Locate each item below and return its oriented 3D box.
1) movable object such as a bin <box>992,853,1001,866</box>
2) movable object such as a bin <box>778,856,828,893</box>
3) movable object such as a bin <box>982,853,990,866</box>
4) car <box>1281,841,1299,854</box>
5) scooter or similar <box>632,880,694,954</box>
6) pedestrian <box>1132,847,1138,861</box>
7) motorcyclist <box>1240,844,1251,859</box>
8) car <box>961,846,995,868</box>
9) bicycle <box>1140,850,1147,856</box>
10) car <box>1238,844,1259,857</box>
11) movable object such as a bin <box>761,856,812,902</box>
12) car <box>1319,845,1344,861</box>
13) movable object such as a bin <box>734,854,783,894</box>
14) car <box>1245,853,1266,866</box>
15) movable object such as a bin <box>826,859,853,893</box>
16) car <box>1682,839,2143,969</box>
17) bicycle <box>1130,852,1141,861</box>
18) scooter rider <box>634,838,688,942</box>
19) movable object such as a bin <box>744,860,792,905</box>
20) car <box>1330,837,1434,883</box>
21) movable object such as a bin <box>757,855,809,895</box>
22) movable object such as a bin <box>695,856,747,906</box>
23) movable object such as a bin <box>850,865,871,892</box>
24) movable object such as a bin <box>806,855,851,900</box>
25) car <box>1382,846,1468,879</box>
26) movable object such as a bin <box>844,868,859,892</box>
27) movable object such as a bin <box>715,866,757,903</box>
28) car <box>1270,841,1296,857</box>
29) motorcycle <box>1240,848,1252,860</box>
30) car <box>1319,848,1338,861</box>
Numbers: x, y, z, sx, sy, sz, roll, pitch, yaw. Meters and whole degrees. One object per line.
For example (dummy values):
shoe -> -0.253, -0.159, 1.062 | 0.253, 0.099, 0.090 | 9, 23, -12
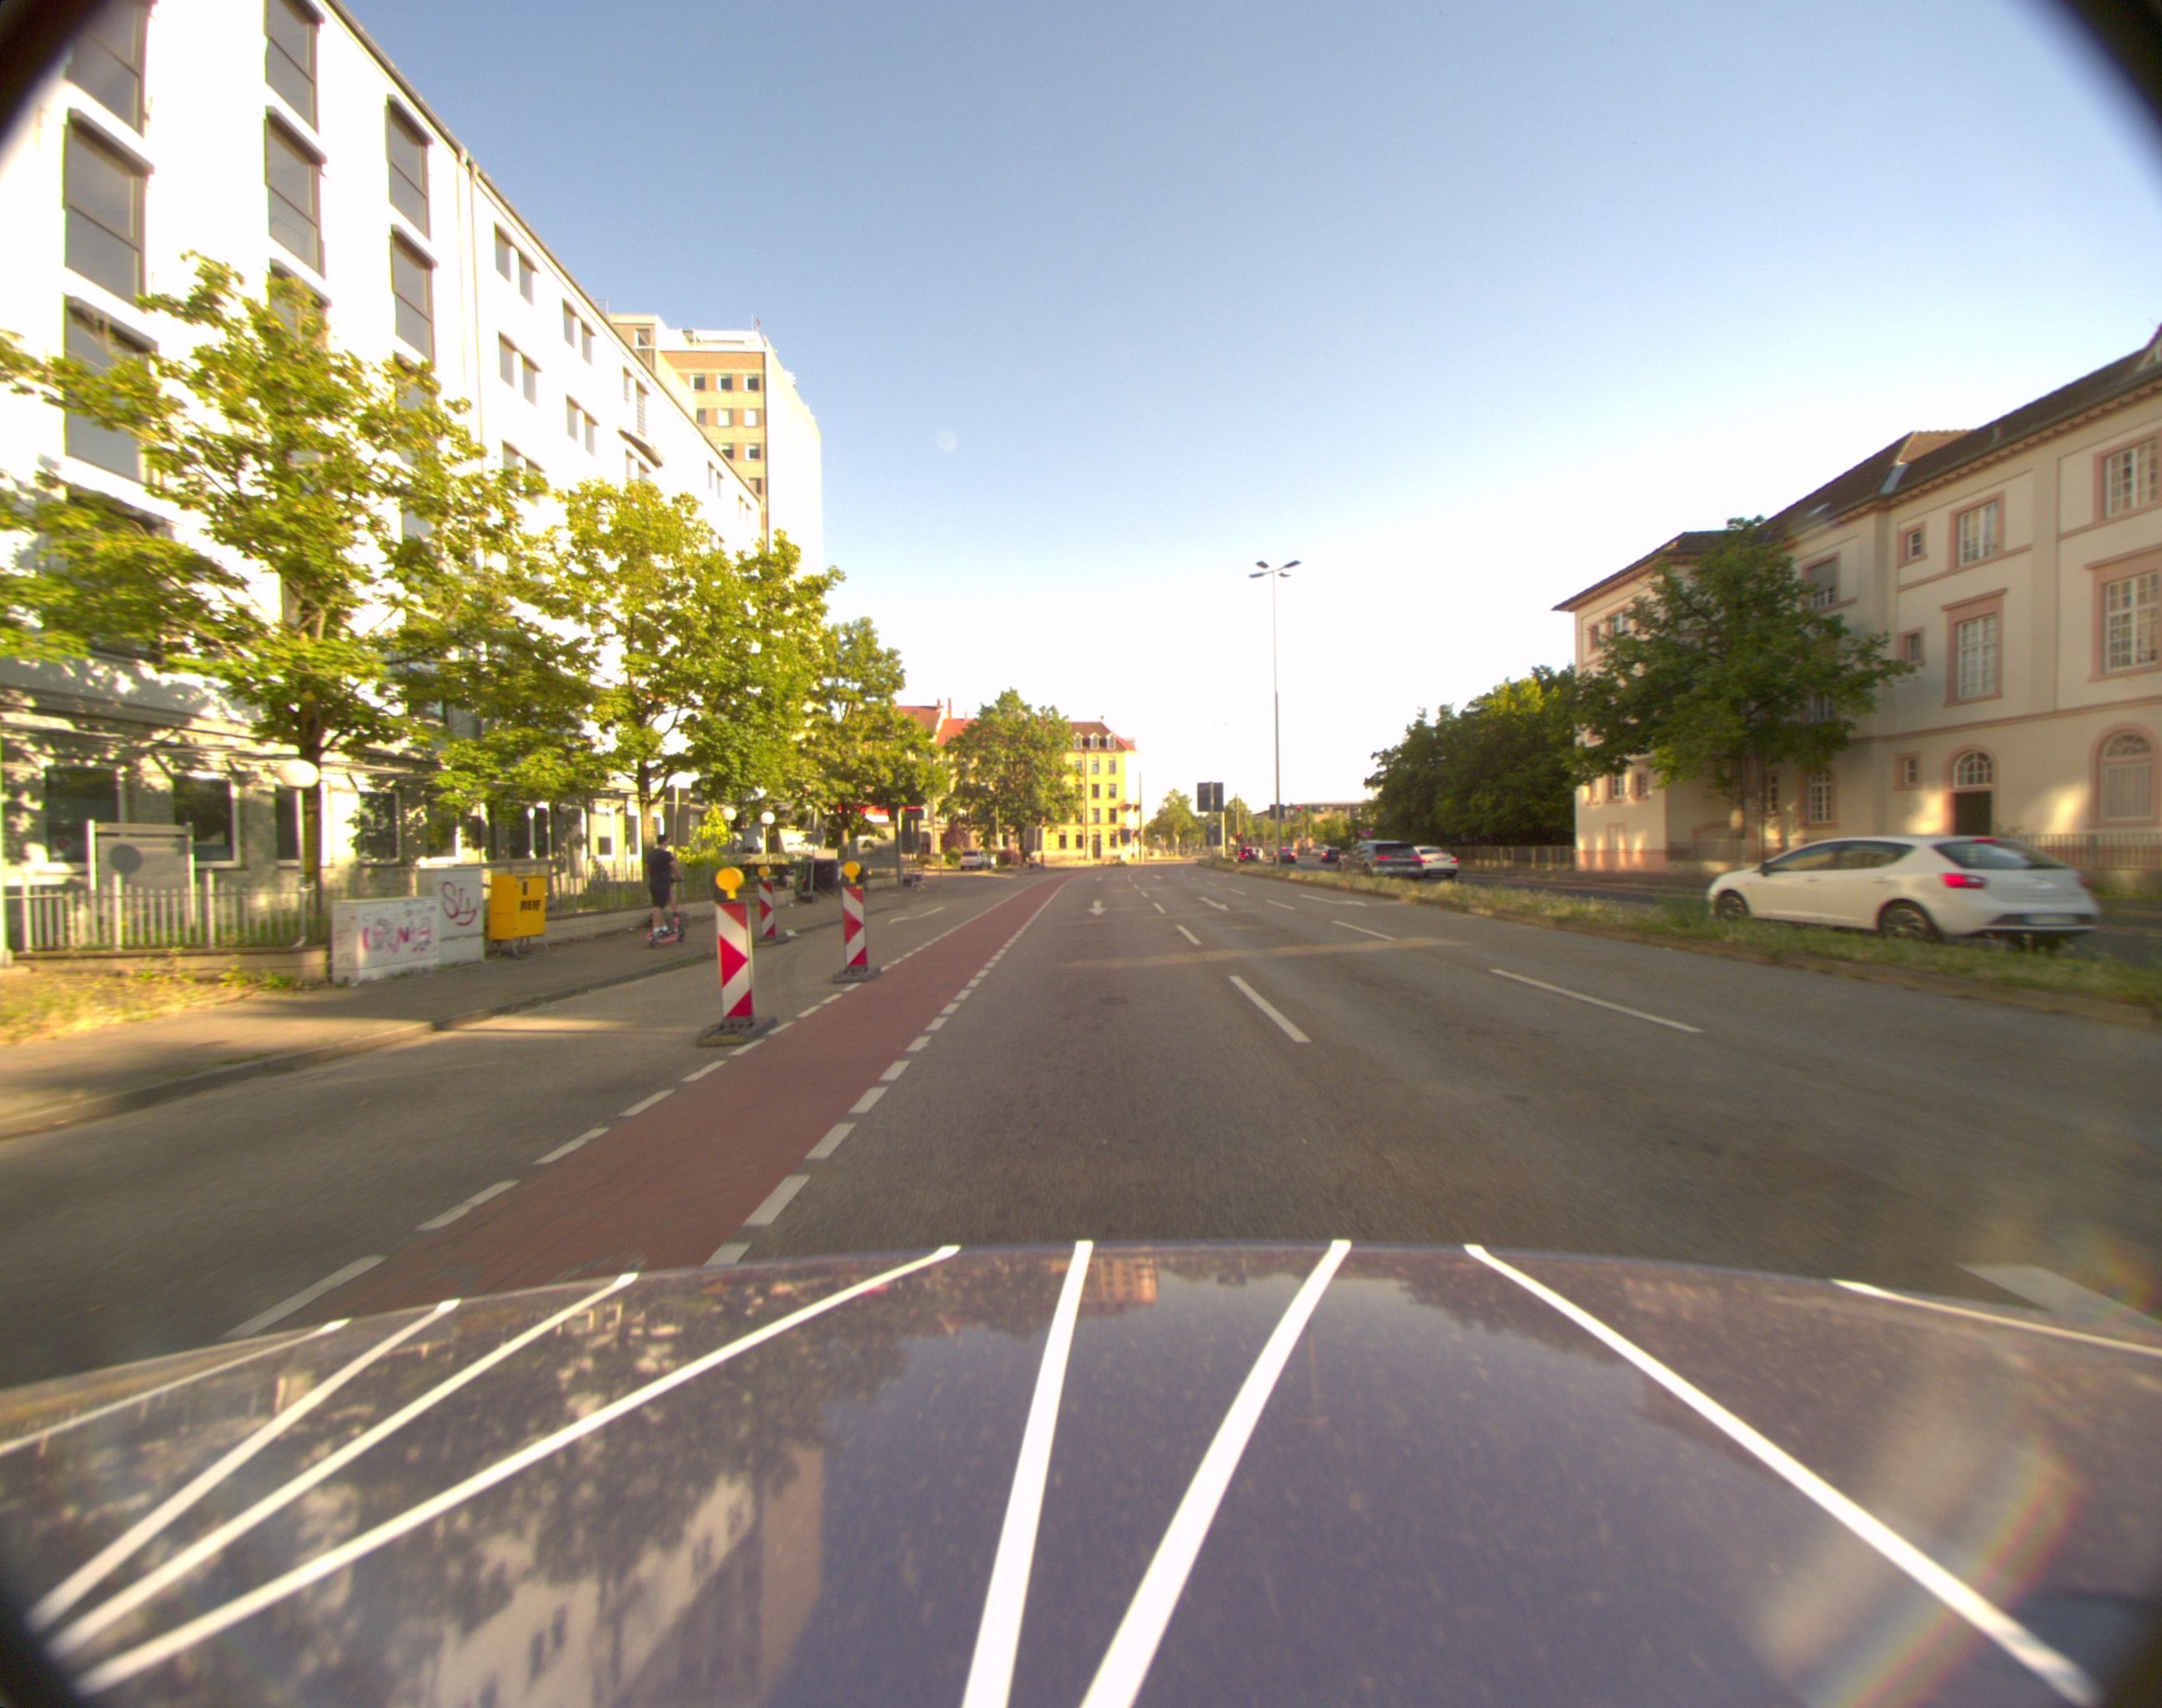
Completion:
movable object such as a bin -> -6.979, 0.456, 62.721 | 0.573, 1.023, 0.674 | -1, 1, 5
movable object such as a bin -> -10.913, 0.796, 29.836 | 1.612, 1.402, 0.865 | -1, 1, 0
movable object such as a bin -> -7.841, 0.439, 62.734 | 0.573, 1.023, 0.674 | -1, 1, 5
car -> 21.389, -0.702, 77.832 | 1.721, 1.311, 3.899 | -1, 1, 15
scooter or similar -> -7.305, 1.073, 13.341 | 0.331, 1.188, 1.250 | -1, 1, 2
pedestrian -> 6.346, -0.018, 89.725 | 0.488, 1.622, 0.526 | 0, 1, 36
motorcyclist -> 15.566, -0.277, 71.880 | 0.852, 1.390, 1.063 | 0, 1, 17
car -> -7.843, 0.235, 58.258 | 1.622, 1.585, 3.896 | -1, 1, 8
bicycle -> 10.618, -0.128, 129.346 | 1.071, 1.018, 2.975 | -1, 1, 3
car -> 16.821, -0.377, 76.203 | 1.721, 1.289, 4.382 | -1, 1, 18
movable object such as a bin -> -9.938, 0.813, 25.681 | 1.330, 1.476, 1.209 | -1, 1, -9
car -> 23.754, -0.094, 72.101 | 1.856, 1.455, 4.004 | -1, 0, 13
movable object such as a bin -> -11.819, 0.727, 27.906 | 1.198, 1.413, 1.279 | 1, 0, 3
car -> 18.919, 0.580, 82.288 | 1.720, 1.289, 4.254 | 0, 1, 19
movable object such as a bin -> -9.515, 0.845, 29.947 | 0.779, 1.301, 0.865 | -1, 1, 0
car -> 10.638, 0.530, 10.298 | 1.689, 1.384, 4.180 | -1, 0, 0
bicycle -> 6.404, 0.294, 89.646 | 0.398, 1.023, 1.675 | 0, 1, 36
scooter rider -> -7.332, 0.617, 13.275 | 0.616, 1.779, 0.487 | -1, 1, 3
movable object such as a bin -> -9.765, 0.860, 23.774 | 1.218, 1.336, 1.054 | -1, 1, -14
car -> 11.211, 0.187, 28.753 | 1.998, 1.569, 4.898 | -1, 1, 0
movable object such as a bin -> -10.930, 0.765, 27.924 | 1.311, 1.425, 1.280 | 1, 0, 6
movable object such as a bin -> -11.049, 0.810, 23.370 | 1.106, 1.476, 0.956 | -1, 1, 0
movable object such as a bin -> -8.718, 0.958, 30.064 | 0.620, 1.040, 0.616 | -1, 1, 3
movable object such as a bin -> -8.998, 0.829, 27.152 | 1.095, 1.500, 1.253 | -1, 3, 1
car -> 15.528, 0.333, 34.574 | 1.998, 1.405, 4.443 | 0, 1, 2
movable object such as a bin -> -8.913, 0.992, 29.472 | 0.393, 0.901, 0.490 | -1, 1, 3
movable object such as a bin -> -11.165, 0.980, 24.606 | 1.025, 1.122, 0.651 | -1, 1, 2
car -> 18.774, -0.474, 70.818 | 1.997, 1.487, 5.296 | -1, 1, 11
motorcycle -> 15.610, -0.004, 71.970 | 0.859, 1.101, 2.473 | 0, 1, 17
car -> 25.511, 0.077, 78.496 | 1.721, 1.289, 3.899 | -1, 1, 15
